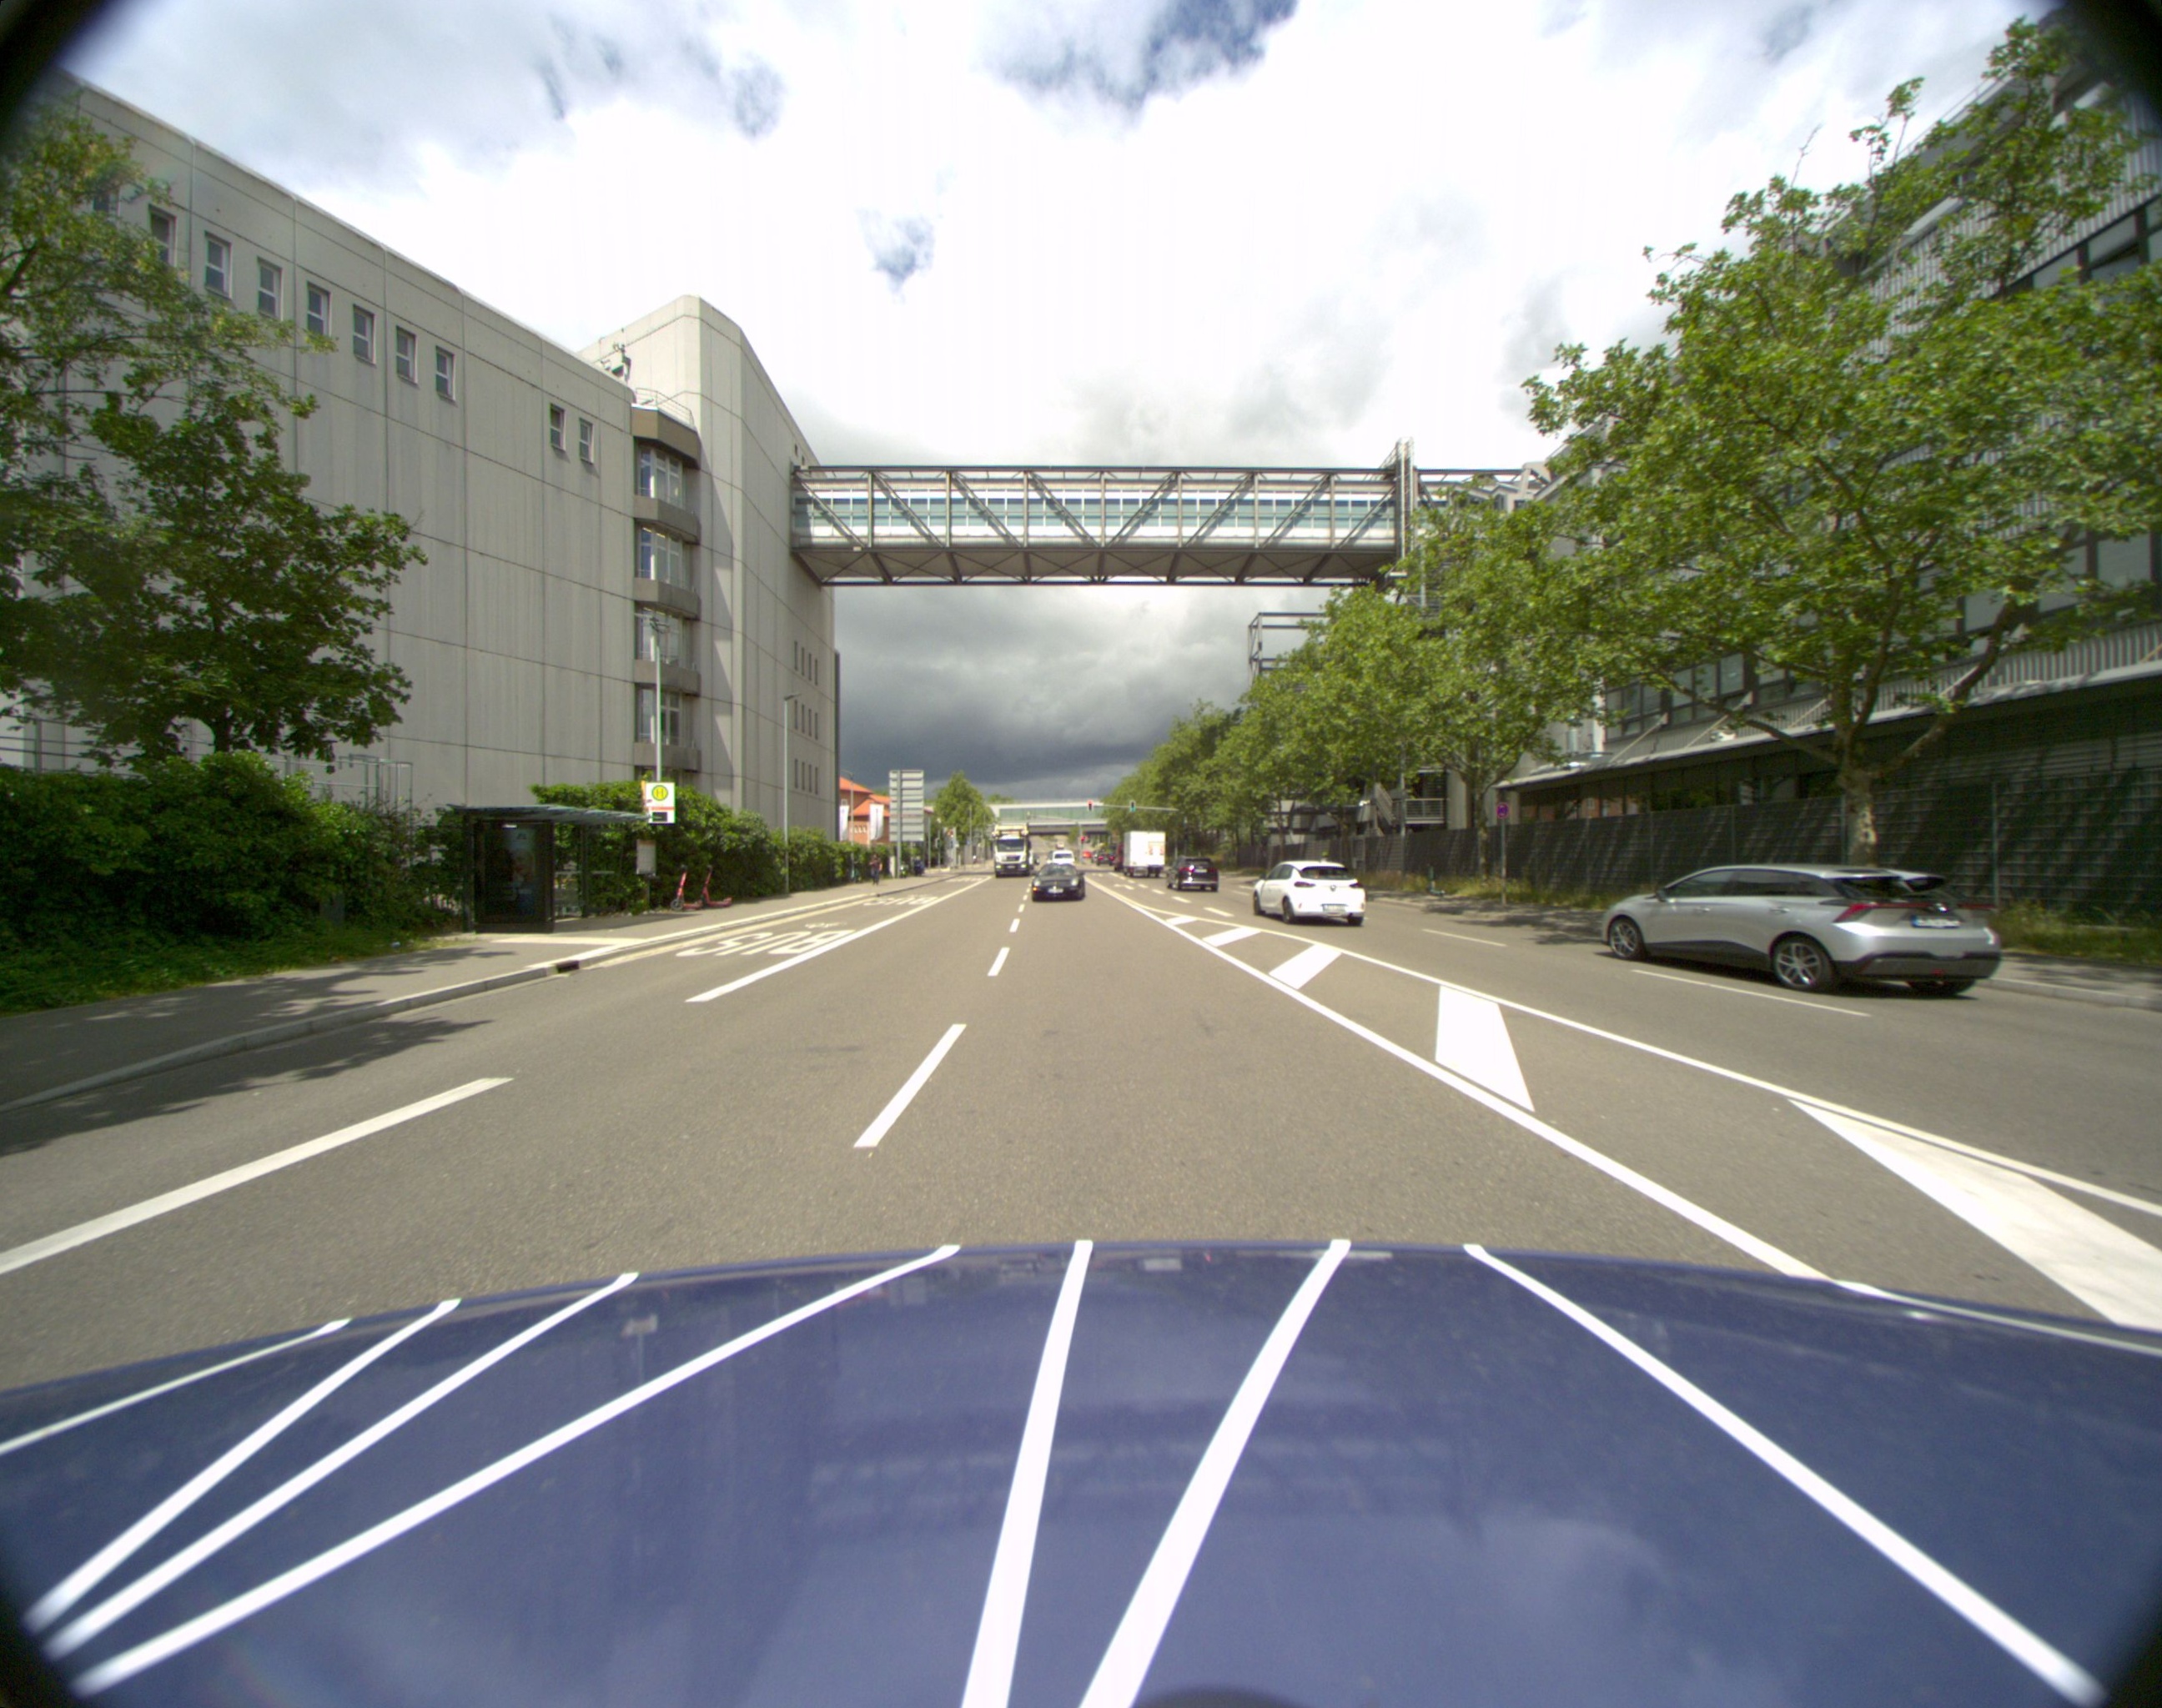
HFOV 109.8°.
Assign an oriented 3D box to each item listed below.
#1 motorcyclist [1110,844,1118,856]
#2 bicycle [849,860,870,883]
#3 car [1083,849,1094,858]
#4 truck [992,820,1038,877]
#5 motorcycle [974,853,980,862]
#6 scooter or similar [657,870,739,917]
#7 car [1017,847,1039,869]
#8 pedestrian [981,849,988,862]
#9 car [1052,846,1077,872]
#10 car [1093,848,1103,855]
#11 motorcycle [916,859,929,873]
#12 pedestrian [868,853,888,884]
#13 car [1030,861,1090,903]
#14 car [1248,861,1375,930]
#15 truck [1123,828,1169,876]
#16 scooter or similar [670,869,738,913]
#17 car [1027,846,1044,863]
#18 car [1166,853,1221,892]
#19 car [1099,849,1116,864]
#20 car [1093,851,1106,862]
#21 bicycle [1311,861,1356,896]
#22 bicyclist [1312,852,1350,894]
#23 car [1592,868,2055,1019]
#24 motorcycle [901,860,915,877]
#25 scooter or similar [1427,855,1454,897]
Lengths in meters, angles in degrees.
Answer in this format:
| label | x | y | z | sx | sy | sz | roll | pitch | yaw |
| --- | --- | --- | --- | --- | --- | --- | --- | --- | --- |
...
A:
| label | x | y | z | sx | sy | sz | roll | pitch | yaw |
| --- | --- | --- | --- | --- | --- | --- | --- | --- | --- |
| motorcyclist | 4.227 | -0.523 | 97.266 | 0.735 | 1.613 | 1.094 | -2 | 1 | -7 |
| bicycle | -12.242 | 0.945 | 42.076 | 0.444 | 1.173 | 2.468 | -2 | 1 | -2 |
| car | 1.349 | -0.099 | 139.106 | 1.890 | 1.446 | 3.901 | 1 | 1 | -3 |
| truck | -4.932 | -0.452 | 58.683 | 2.713 | 3.863 | 10.737 | -2 | 1 | -1 |
| motorcycle | -14.011 | 0.453 | 102.851 | 0.571 | 1.219 | 2.175 | 0 | 1 | -2 |
| scooter or similar | -10.396 | 1.043 | 20.718 | 0.542 | 1.156 | 2.131 | 1 | 0 | 25 |
| car | -5.257 | 0.356 | 76.077 | 1.872 | 1.944 | 4.710 | -2 | 1 | -1 |
| pedestrian | -13.078 | 0.217 | 102.987 | 0.729 | 1.756 | 1.015 | -2 | 1 | -2 |
| car | -1.298 | 0.438 | 61.303 | 1.824 | 2.001 | 4.392 | -1 | -1 | 1 |
| car | 3.751 | -0.514 | 169.268 | 1.999 | 1.446 | 4.766 | 1 | 1 | -3 |
| motorcycle | -12.228 | 0.904 | 58.589 | 0.592 | 1.061 | 2.036 | 1 | 0 | -2 |
| pedestrian | -10.922 | 0.788 | 40.896 | 0.812 | 1.635 | 0.997 | 1 | 1 | -4 |
| car | -0.684 | 0.956 | 27.406 | 1.838 | 1.317 | 4.001 | -3 | 0 | 3 |
| car | 5.422 | 0.917 | 18.457 | 1.696 | 1.406 | 4.144 | 1 | 0 | -2 |
| truck | 4.465 | -0.170 | 53.762 | 2.459 | 3.111 | 7.241 | 2 | 1 | -1 |
| scooter or similar | -10.644 | 1.021 | 21.516 | 0.542 | 1.156 | 1.795 | 1 | 0 | 25 |
| car | -5.809 | 0.002 | 96.607 | 1.872 | 1.944 | 4.710 | -3 | 1 | -1 |
| car | 5.064 | 0.797 | 34.599 | 1.744 | 1.572 | 4.266 | 1 | 0 | -1 |
| car | 3.218 | 0.288 | 92.071 | 1.741 | 1.674 | 4.212 | -2 | 1 | -3 |
| car | 2.626 | 0.347 | 107.007 | 1.562 | 1.496 | 3.612 | 1 | 1 | -1 |
| bicycle | 9.778 | 0.922 | 29.532 | 0.738 | 1.227 | 2.472 | 1 | 1 | -4 |
| bicyclist | 9.794 | 0.720 | 29.813 | 0.958 | 1.588 | 1.222 | 1 | 1 | -5 |
| car | 9.164 | 0.974 | 10.017 | 1.883 | 1.496 | 4.189 | 1 | 0 | -2 |
| motorcycle | -11.973 | 0.999 | 52.699 | 0.592 | 1.061 | 2.036 | 0 | 0 | -2 |
| scooter or similar | 12.468 | 0.744 | 26.376 | 0.304 | 1.395 | 1.235 | -2 | 1 | -2 |
